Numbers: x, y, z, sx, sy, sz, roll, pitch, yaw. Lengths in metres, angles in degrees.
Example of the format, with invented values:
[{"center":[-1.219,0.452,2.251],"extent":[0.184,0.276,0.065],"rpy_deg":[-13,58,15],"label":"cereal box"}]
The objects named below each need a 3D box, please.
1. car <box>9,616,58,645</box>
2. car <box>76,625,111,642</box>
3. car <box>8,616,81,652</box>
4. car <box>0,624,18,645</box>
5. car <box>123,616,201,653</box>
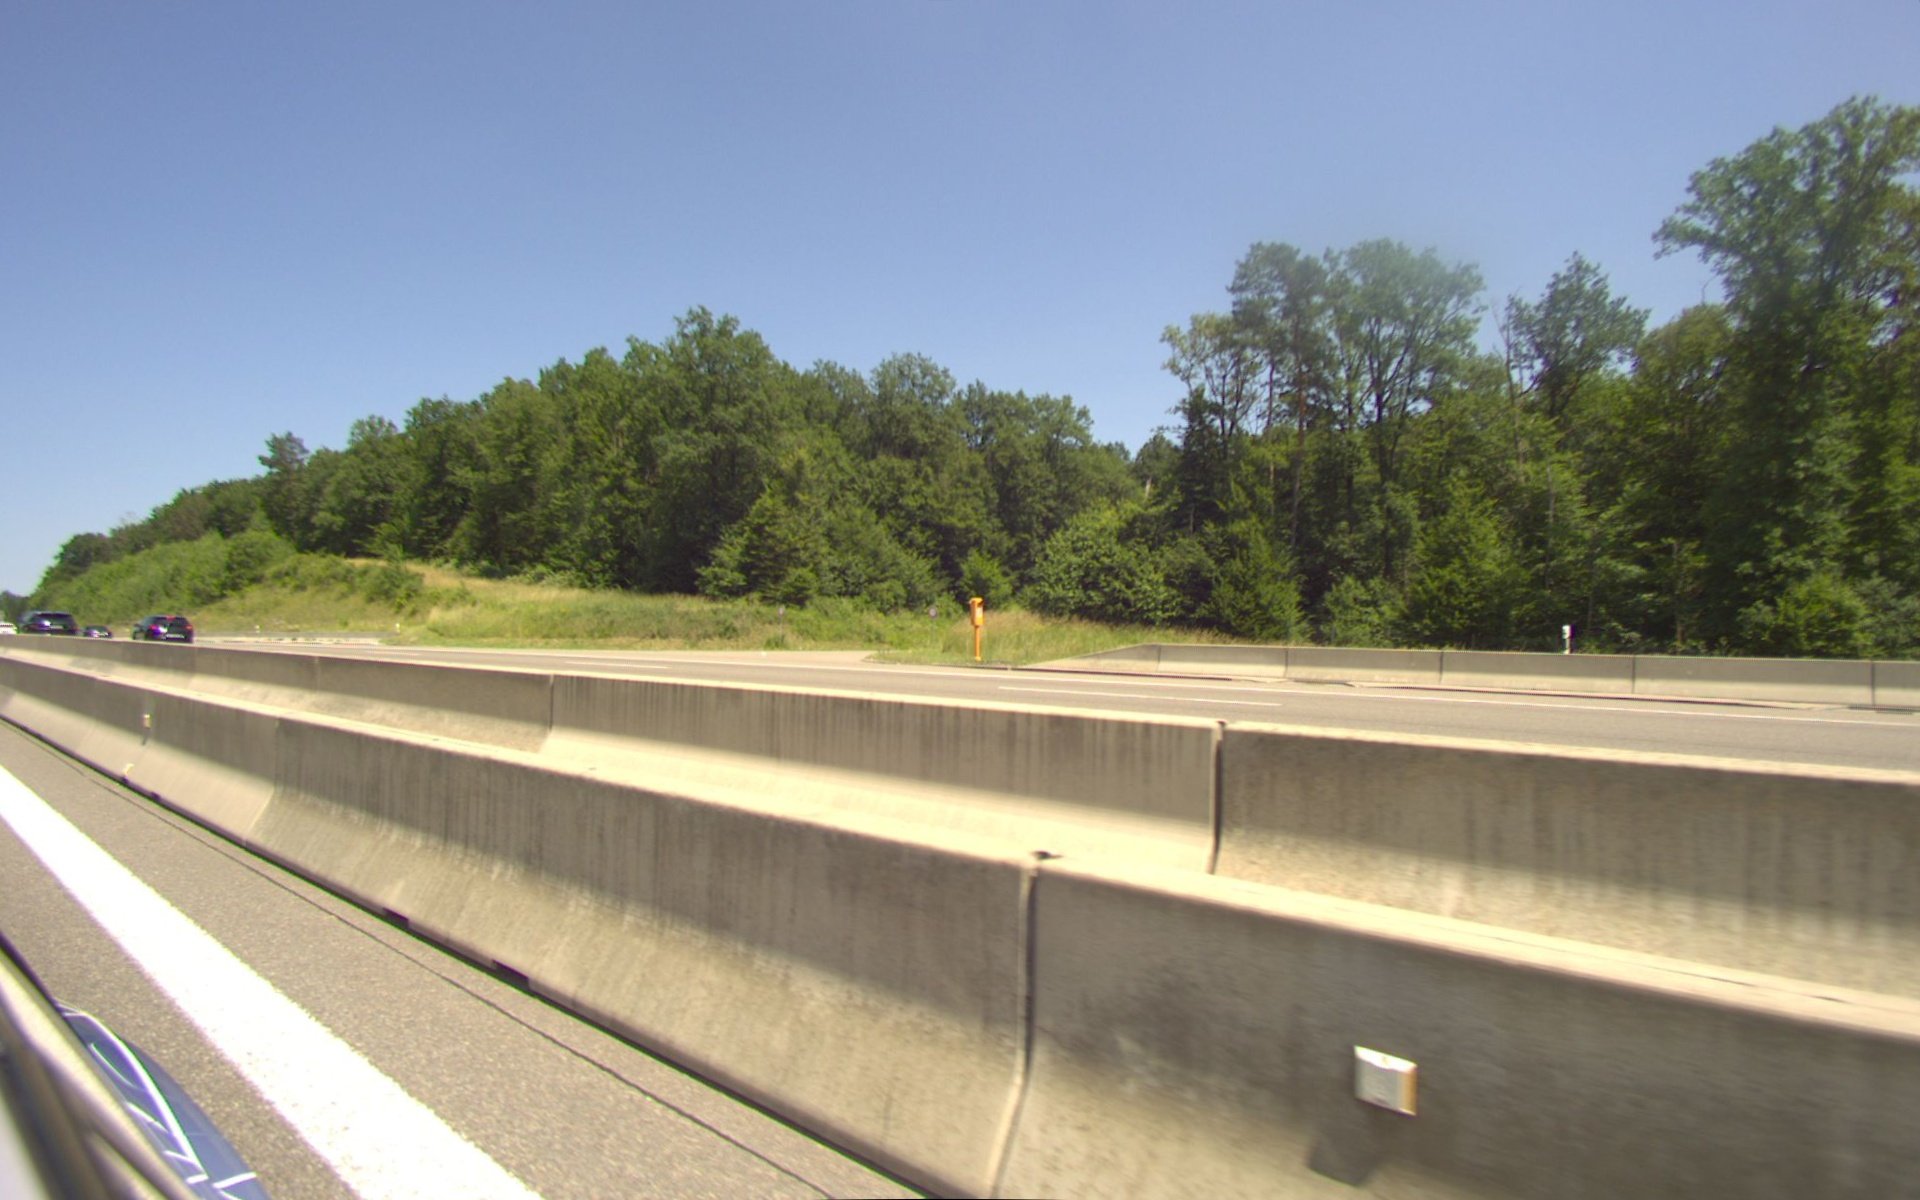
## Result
[{"center":[-67.082,2.202,73.280],"extent":[4.807,2.029,1.974],"rpy_deg":[-1,-1,39],"label":"car"},{"center":[-68.265,2.686,79.698],"extent":[4.298,1.315,1.471],"rpy_deg":[-2,-3,42],"label":"car"},{"center":[-44.892,1.675,49.575],"extent":[5.277,1.686,1.973],"rpy_deg":[-1,-3,41],"label":"car"},{"center":[-79.657,2.814,83.753],"extent":[4.928,1.682,1.973],"rpy_deg":[-1,-1,41],"label":"car"},{"center":[-38.912,1.678,49.272],"extent":[5.277,1.687,1.973],"rpy_deg":[-1,-3,41],"label":"car"}]
